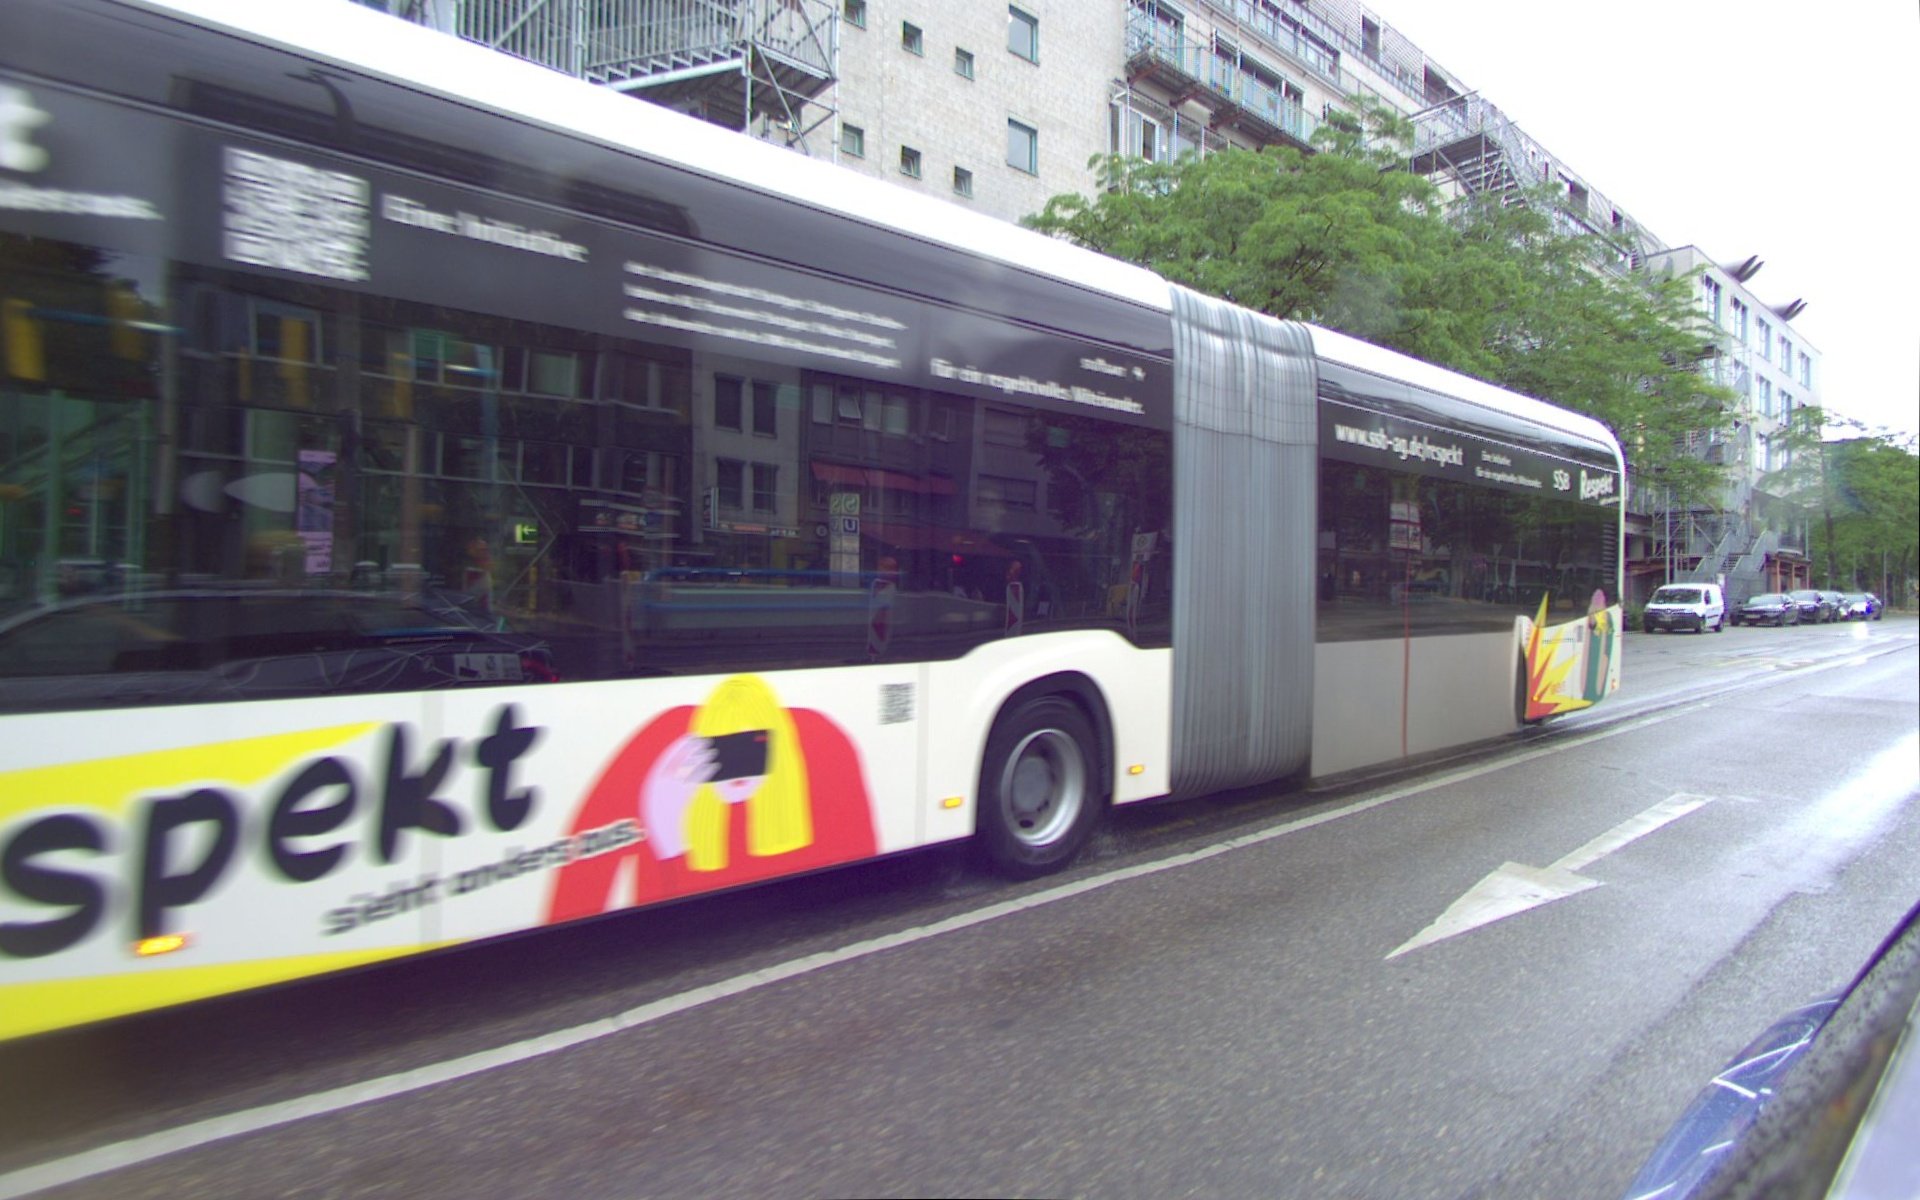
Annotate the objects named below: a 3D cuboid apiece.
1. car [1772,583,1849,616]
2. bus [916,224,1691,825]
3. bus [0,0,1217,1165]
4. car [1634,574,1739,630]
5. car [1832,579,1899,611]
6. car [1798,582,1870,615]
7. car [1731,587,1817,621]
[{"bbox_3d":[40.811,-0.053,48.514,4.733,1.513,2.145,-1,1,-41],"label":"car"},{"bbox_3d":[4.201,-0.526,10.102,9.541,3.483,2.888,-1,1,-41],"label":"bus"},{"bbox_3d":[-3.091,-0.367,3.779,9.587,3.494,2.888,-1,1,-41],"label":"bus"},{"bbox_3d":[26.624,0.019,37.042,4.255,1.930,2.211,-1,1,-41],"label":"car"},{"bbox_3d":[49.498,-0.291,55.296,4.733,1.667,2.145,-1,1,-41],"label":"car"},{"bbox_3d":[44.925,-0.120,51.973,4.733,1.580,2.145,-1,1,-41],"label":"car"},{"bbox_3d":[35.654,0.129,44.266,4.733,1.353,2.145,-1,1,-41],"label":"car"}]
